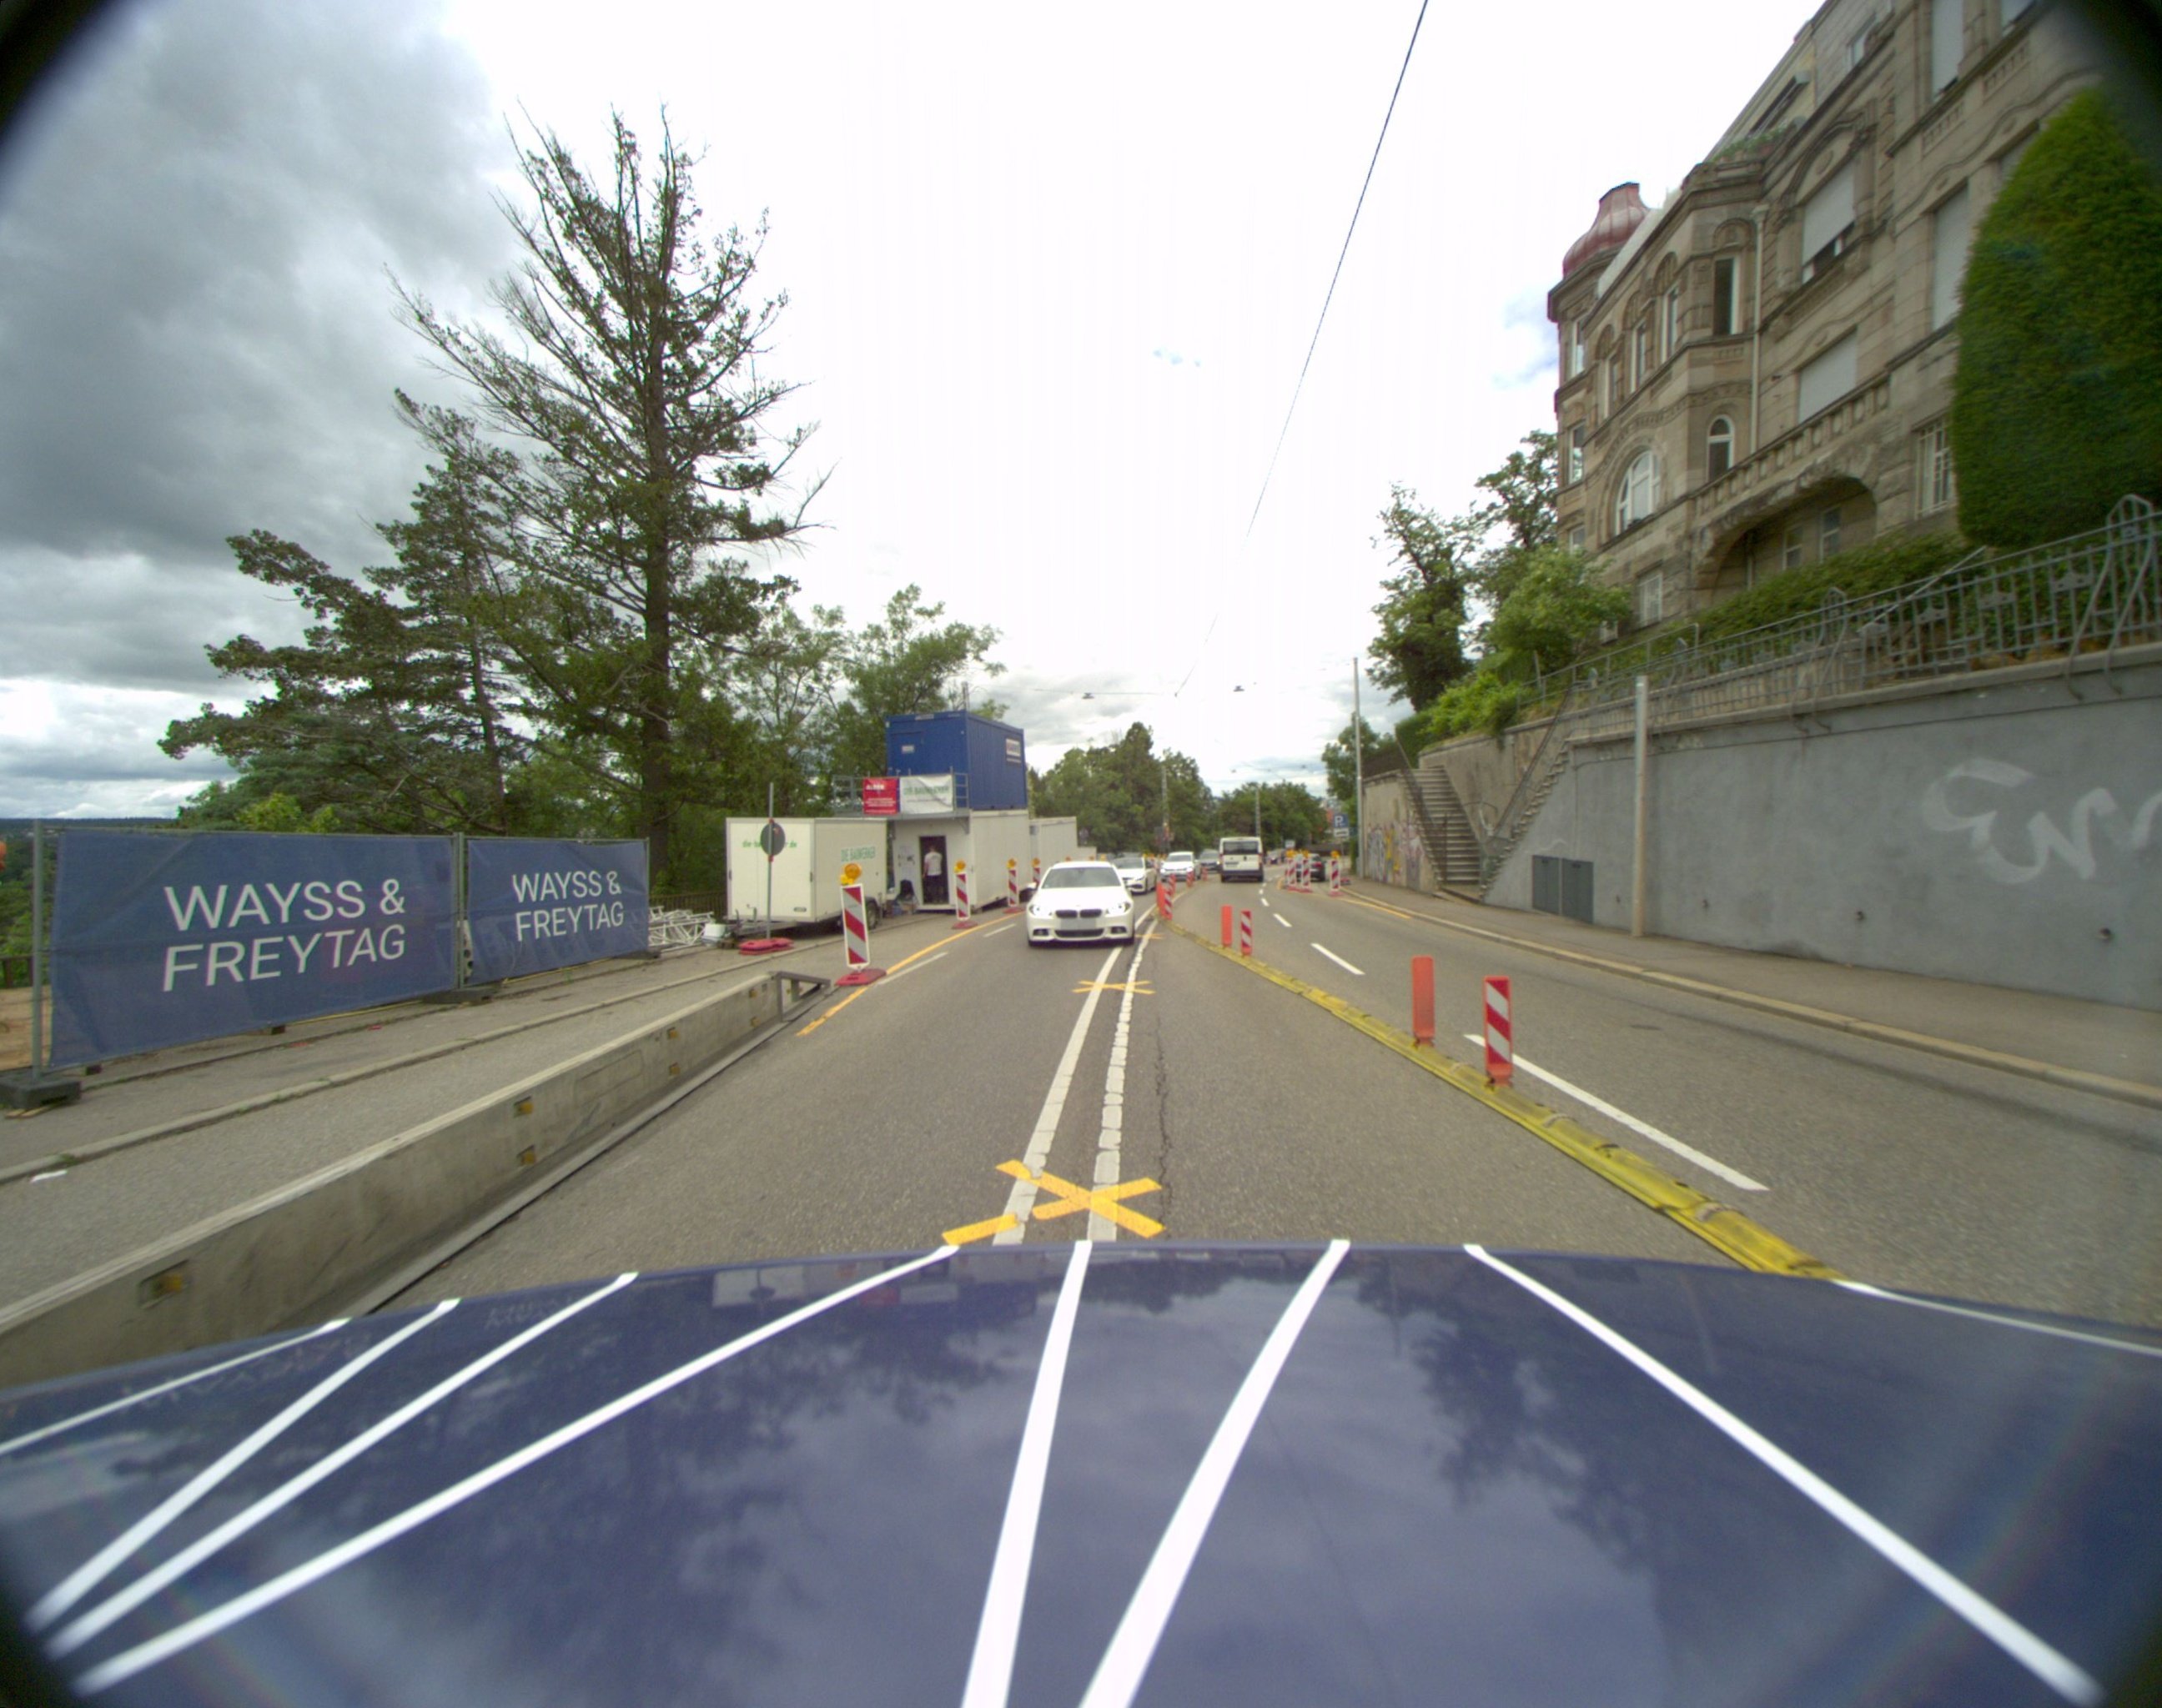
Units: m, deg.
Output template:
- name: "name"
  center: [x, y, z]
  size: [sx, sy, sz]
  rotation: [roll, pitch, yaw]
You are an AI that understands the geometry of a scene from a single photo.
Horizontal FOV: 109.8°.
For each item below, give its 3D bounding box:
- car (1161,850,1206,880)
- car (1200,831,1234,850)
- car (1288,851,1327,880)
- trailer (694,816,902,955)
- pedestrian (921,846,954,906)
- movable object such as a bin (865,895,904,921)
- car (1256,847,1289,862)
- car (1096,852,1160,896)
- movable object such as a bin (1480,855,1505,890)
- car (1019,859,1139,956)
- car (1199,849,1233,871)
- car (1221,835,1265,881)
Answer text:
- name: "car"
  center: [5.672, 0.571, 41.771]
  size: [1.790, 1.542, 4.250]
  rotation: [-1, 0, 16]
- name: "car"
  center: [13.395, -1.296, 74.686]
  size: [1.854, 1.665, 4.286]
  rotation: [5, 4, 28]
- name: "car"
  center: [11.647, 0.560, 39.269]
  size: [1.801, 1.365, 4.393]
  rotation: [1, 1, 15]
- name: "trailer"
  center: [-5.817, 0.550, 16.527]
  size: [2.111, 2.535, 5.121]
  rotation: [0, 1, 7]
- name: "pedestrian"
  center: [-4.142, 0.622, 21.849]
  size: [0.651, 1.651, 0.649]
  rotation: [-4, 1, -31]
- name: "movable object such as a bin"
  center: [-5.254, 1.439, 20.388]
  size: [0.705, 0.636, 0.887]
  rotation: [0, 1, 9]
- name: "car"
  center: [20.987, 0.056, 83.125]
  size: [1.788, 1.472, 4.253]
  rotation: [-1, 0, 40]
- name: "car"
  center: [1.894, 0.720, 29.550]
  size: [1.790, 1.472, 4.248]
  rotation: [-2, 0, 12]
- name: "movable object such as a bin"
  center: [11.132, 0.500, 20.557]
  size: [0.454, 0.906, 0.508]
  rotation: [-2, 1, 12]
- name: "car"
  center: [0.118, 0.889, 14.553]
  size: [1.791, 1.472, 4.246]
  rotation: [-2, 0, 6]
- name: "car"
  center: [10.018, 0.439, 56.162]
  size: [1.796, 1.502, 4.005]
  rotation: [1, 1, 20]
- name: "car"
  center: [8.294, 0.180, 38.752]
  size: [2.070, 2.175, 4.967]
  rotation: [0, 0, 13]
